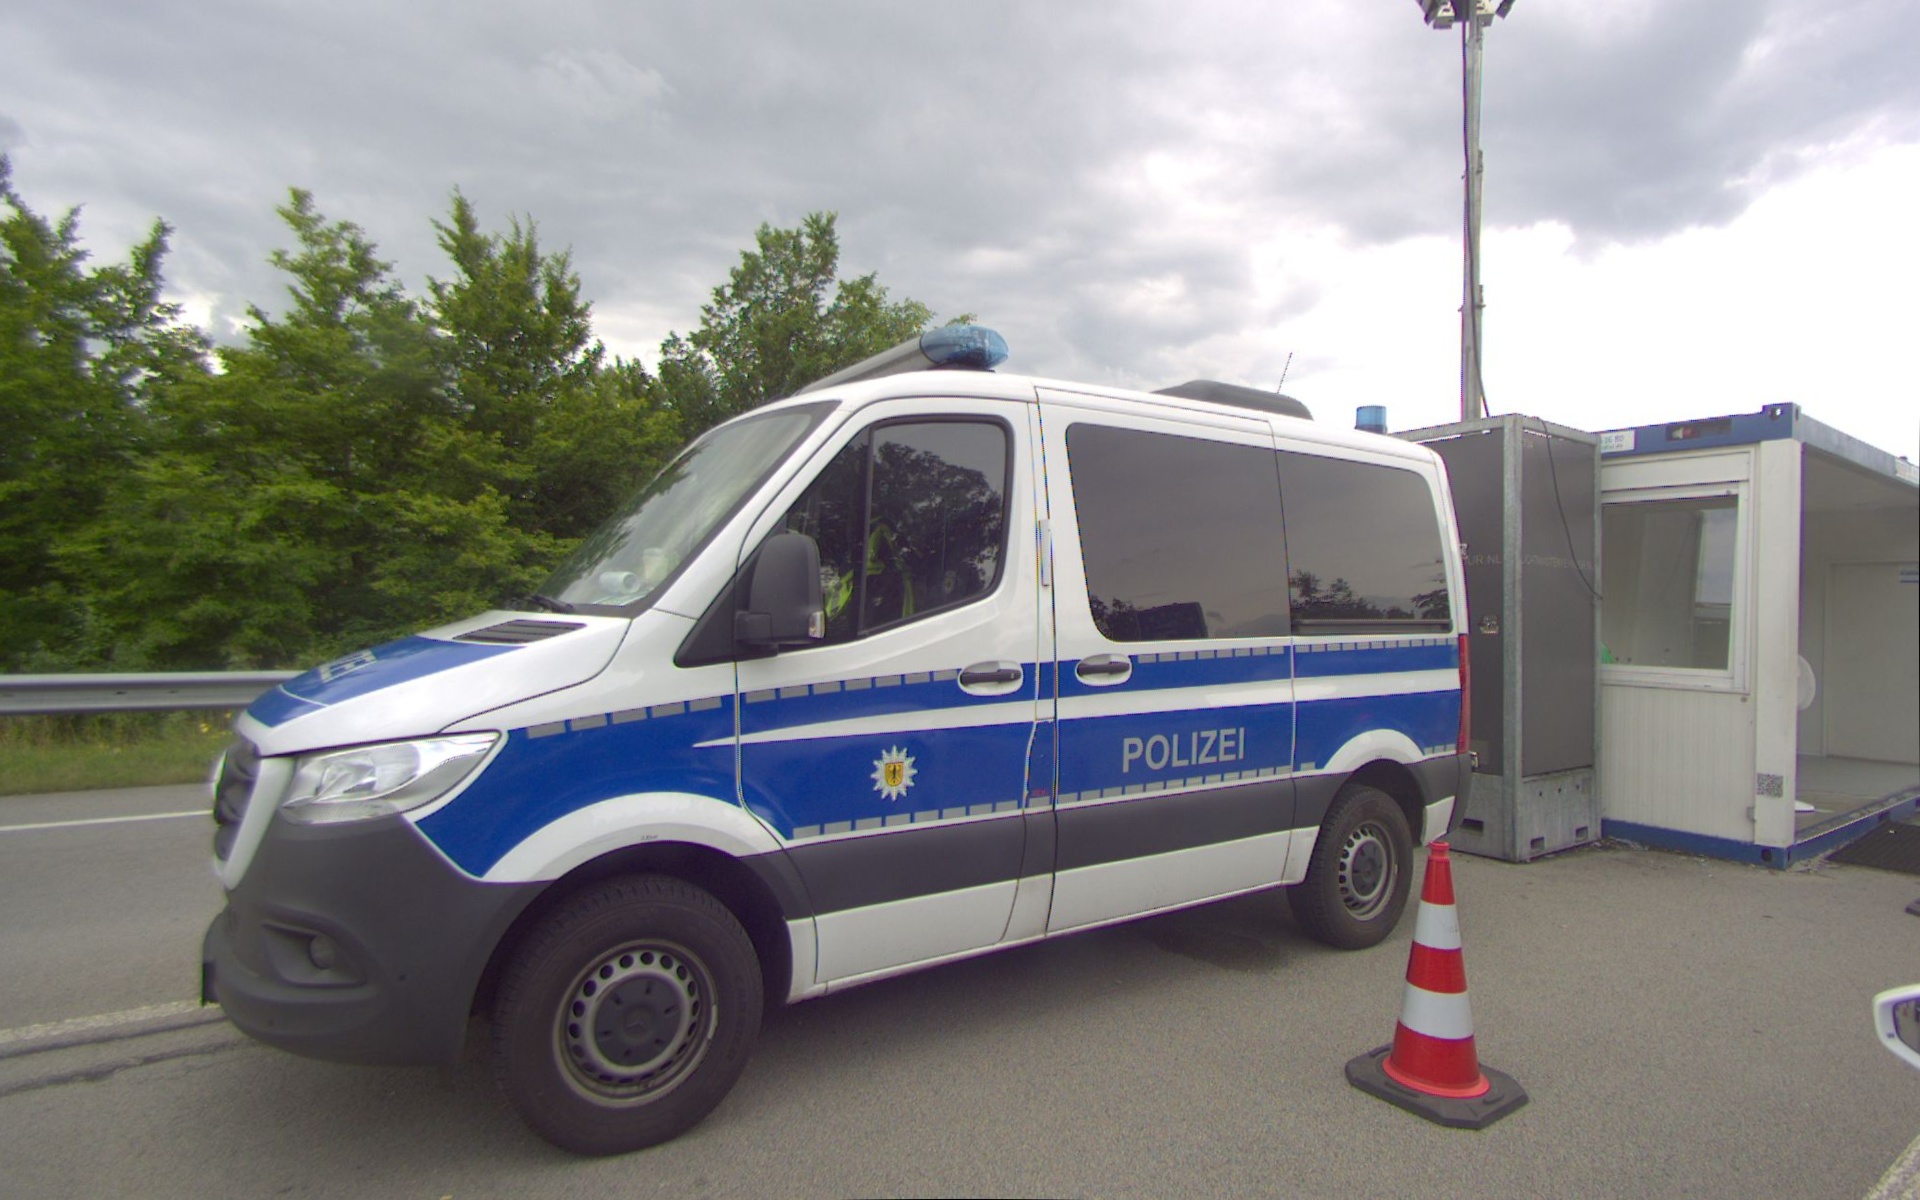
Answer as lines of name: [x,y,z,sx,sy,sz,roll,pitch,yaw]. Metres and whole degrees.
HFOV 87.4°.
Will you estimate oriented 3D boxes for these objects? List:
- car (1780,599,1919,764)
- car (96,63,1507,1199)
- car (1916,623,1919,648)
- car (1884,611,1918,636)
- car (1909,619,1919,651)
car: [11.827,0.921,12.189,3.967,1.767,1.857,1,0,-34]
car: [-0.067,0.236,4.292,5.224,2.496,2.017,1,0,-34]
car: [59.656,2.165,61.345,1.835,1.518,4.232,1,0,43]
car: [90.905,2.263,97.072,1.831,2.252,4.242,1,0,36]
car: [48.531,1.756,49.834,4.226,1.518,1.838,2,0,-43]
